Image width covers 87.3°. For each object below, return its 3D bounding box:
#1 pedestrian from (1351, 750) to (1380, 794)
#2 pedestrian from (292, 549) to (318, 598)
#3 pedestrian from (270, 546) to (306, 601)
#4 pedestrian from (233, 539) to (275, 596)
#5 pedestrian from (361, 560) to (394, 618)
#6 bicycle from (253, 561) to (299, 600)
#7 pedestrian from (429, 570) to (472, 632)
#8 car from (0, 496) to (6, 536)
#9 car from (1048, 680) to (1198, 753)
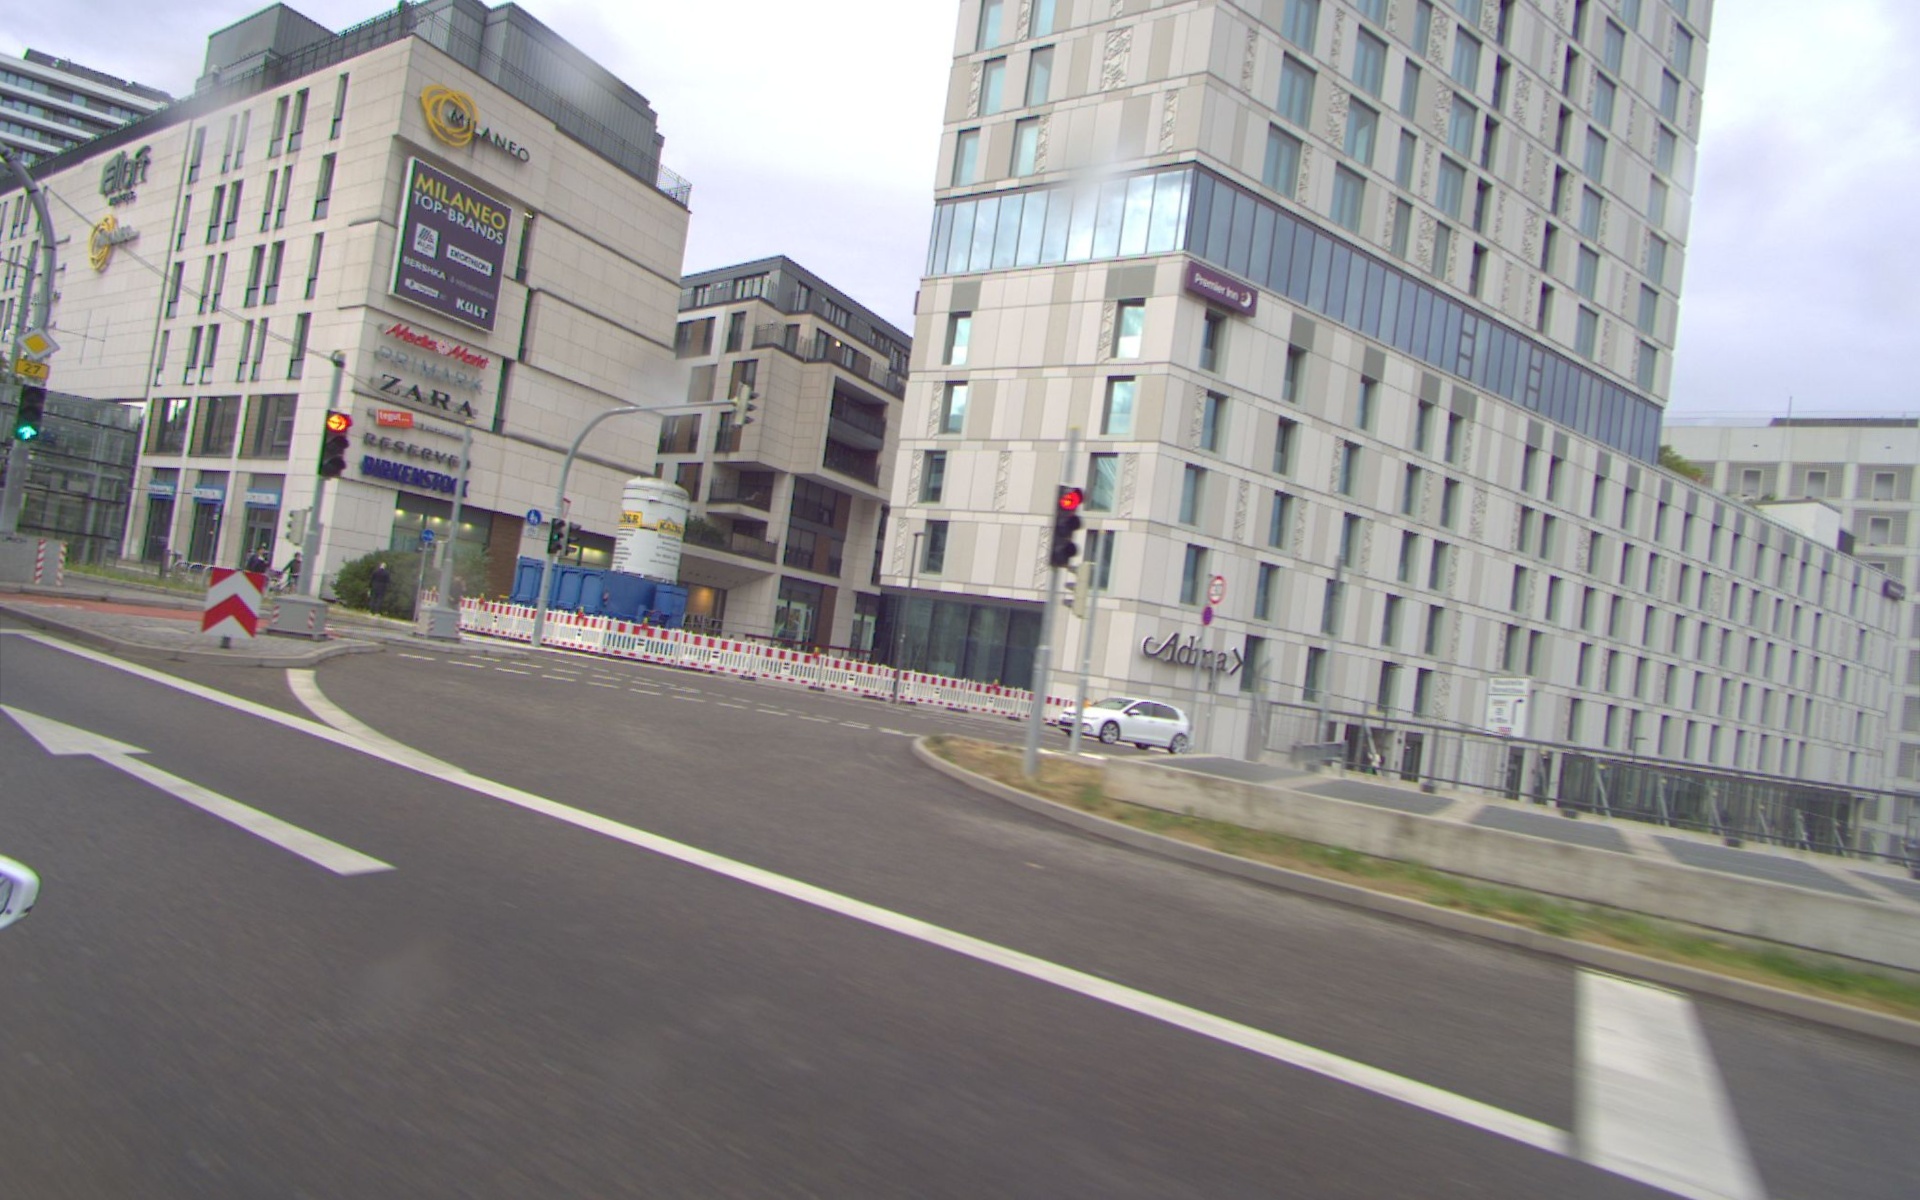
[{"bbox_3d":[17.272,7.301,42.868,0.789,1.721,0.797,6,-2,40],"label":"pedestrian"},{"bbox_3d":[-23.539,-0.948,36.163,0.590,1.661,0.583,8,-1,-33],"label":"pedestrian"},{"bbox_3d":[-21.205,-0.850,31.759,0.687,1.629,0.551,6,-1,32],"label":"pedestrian"},{"bbox_3d":[-21.636,-0.987,30.834,0.805,1.629,0.614,6,-1,32],"label":"pedestrian"},{"bbox_3d":[-19.131,-0.363,33.030,0.584,1.801,0.441,7,-1,4],"label":"pedestrian"},{"bbox_3d":[-21.456,-0.619,31.540,1.714,1.027,0.450,6,-2,33],"label":"bicycle"},{"bbox_3d":[-15.088,0.032,29.807,0.810,1.691,0.622,6,-1,32],"label":"pedestrian"},{"bbox_3d":[-12.092,-0.621,10.614,4.267,1.524,1.794,7,-2,32],"label":"car"},{"bbox_3d":[4.695,3.354,28.865,3.962,1.448,1.731,11,-4,-30],"label":"car"}]
